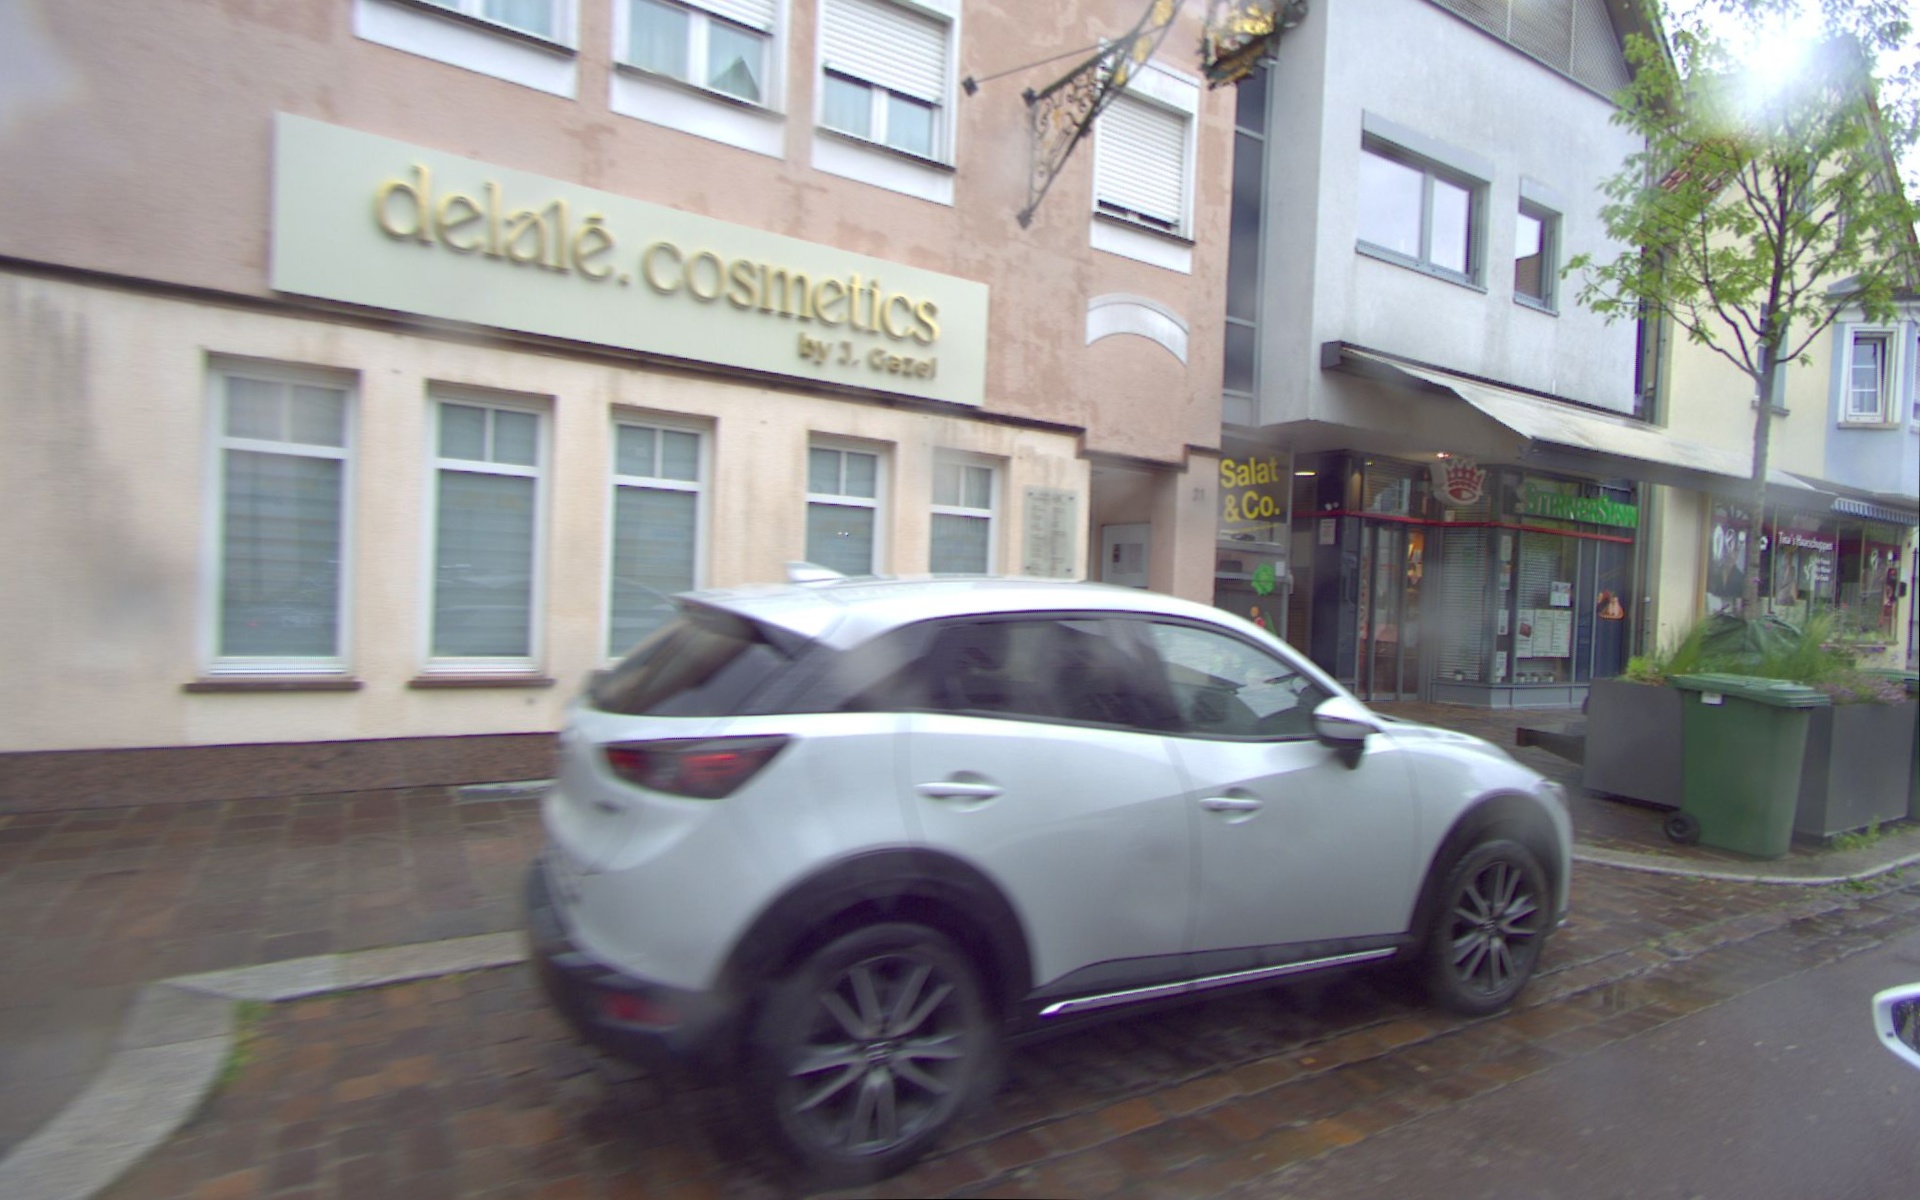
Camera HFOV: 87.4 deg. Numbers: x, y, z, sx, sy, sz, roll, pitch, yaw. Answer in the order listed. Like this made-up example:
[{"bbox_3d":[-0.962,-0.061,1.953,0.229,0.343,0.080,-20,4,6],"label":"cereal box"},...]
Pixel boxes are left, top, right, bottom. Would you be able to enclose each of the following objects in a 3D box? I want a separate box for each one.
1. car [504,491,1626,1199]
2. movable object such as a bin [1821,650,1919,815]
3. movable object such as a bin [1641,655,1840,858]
[{"bbox_3d":[0.501,0.629,3.874,3.952,1.587,1.819,3,0,-29],"label":"car"},{"bbox_3d":[7.080,0.979,7.472,0.604,1.121,0.809,2,3,-34],"label":"movable object such as a bin"},{"bbox_3d":[4.880,0.933,6.302,0.604,1.121,0.809,2,0,-34],"label":"movable object such as a bin"}]
